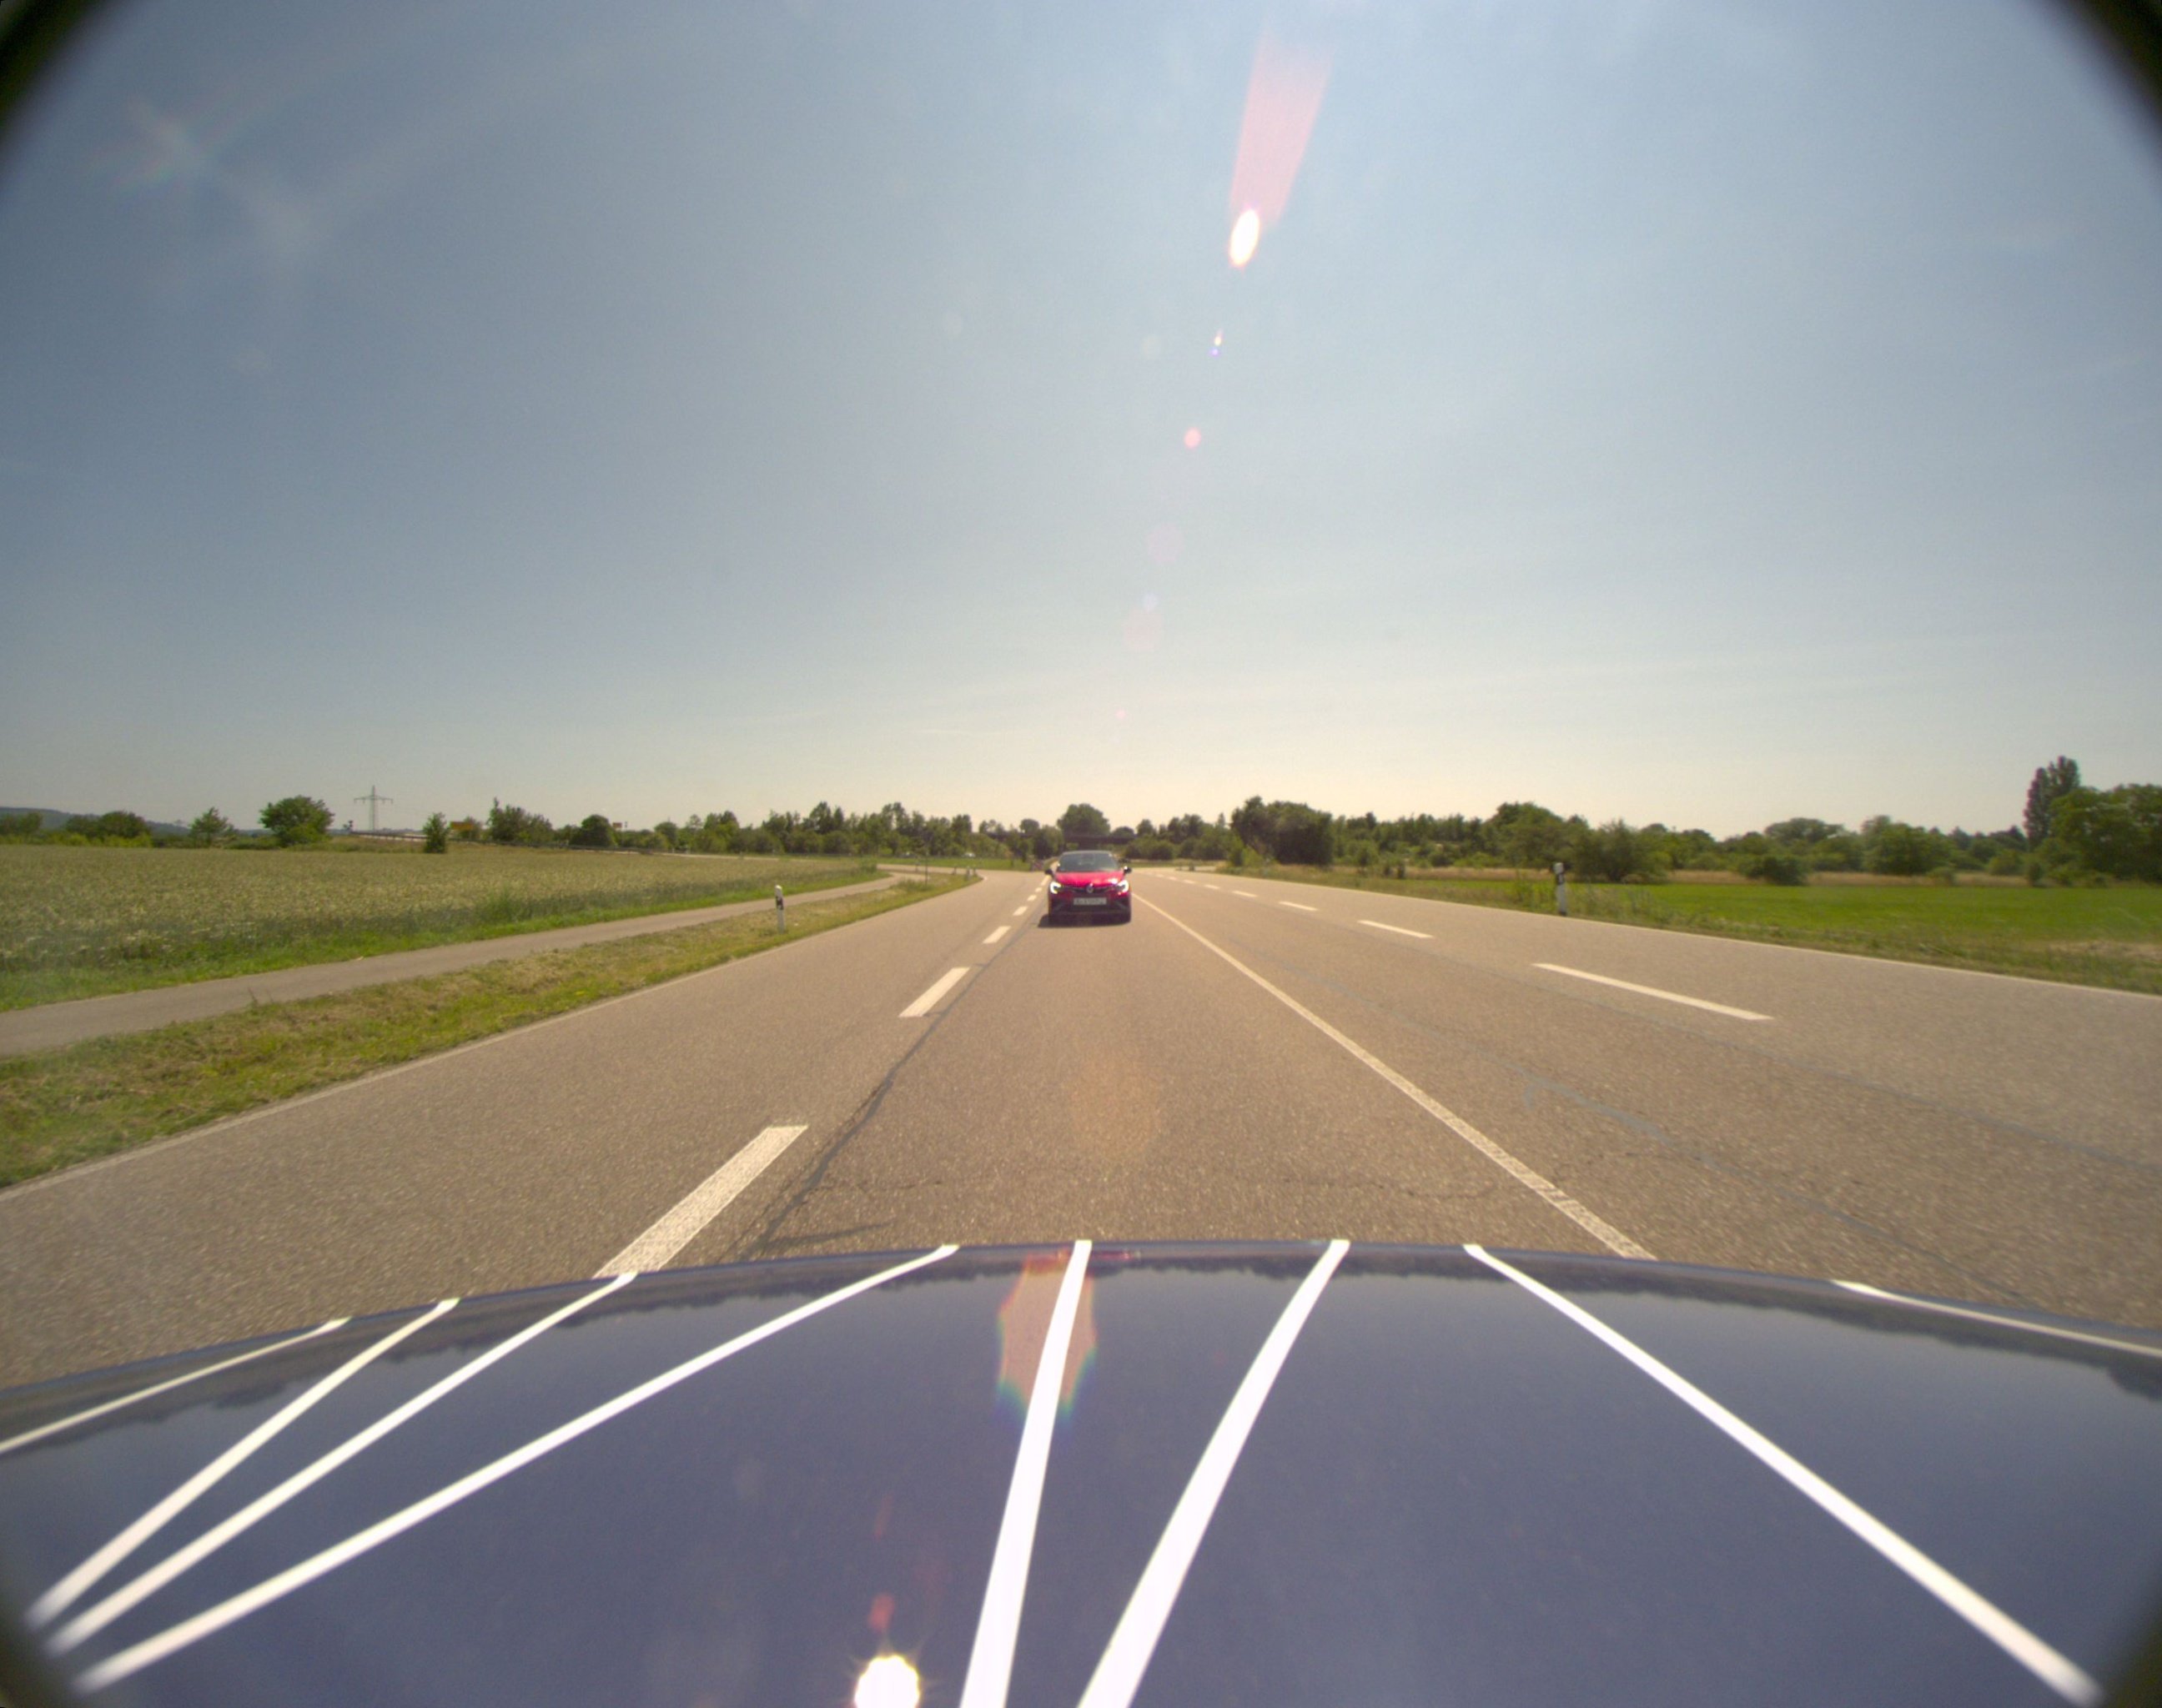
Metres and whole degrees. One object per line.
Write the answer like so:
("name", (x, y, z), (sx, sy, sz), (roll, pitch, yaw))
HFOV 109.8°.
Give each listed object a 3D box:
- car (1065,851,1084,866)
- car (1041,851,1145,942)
("car", (-0.694, 0.457, 80.968), (1.983, 1.587, 5.401), (-1, 0, -1))
("car", (0.245, 0.764, 16.061), (1.837, 1.587, 4.721), (-1, 1, 1))
